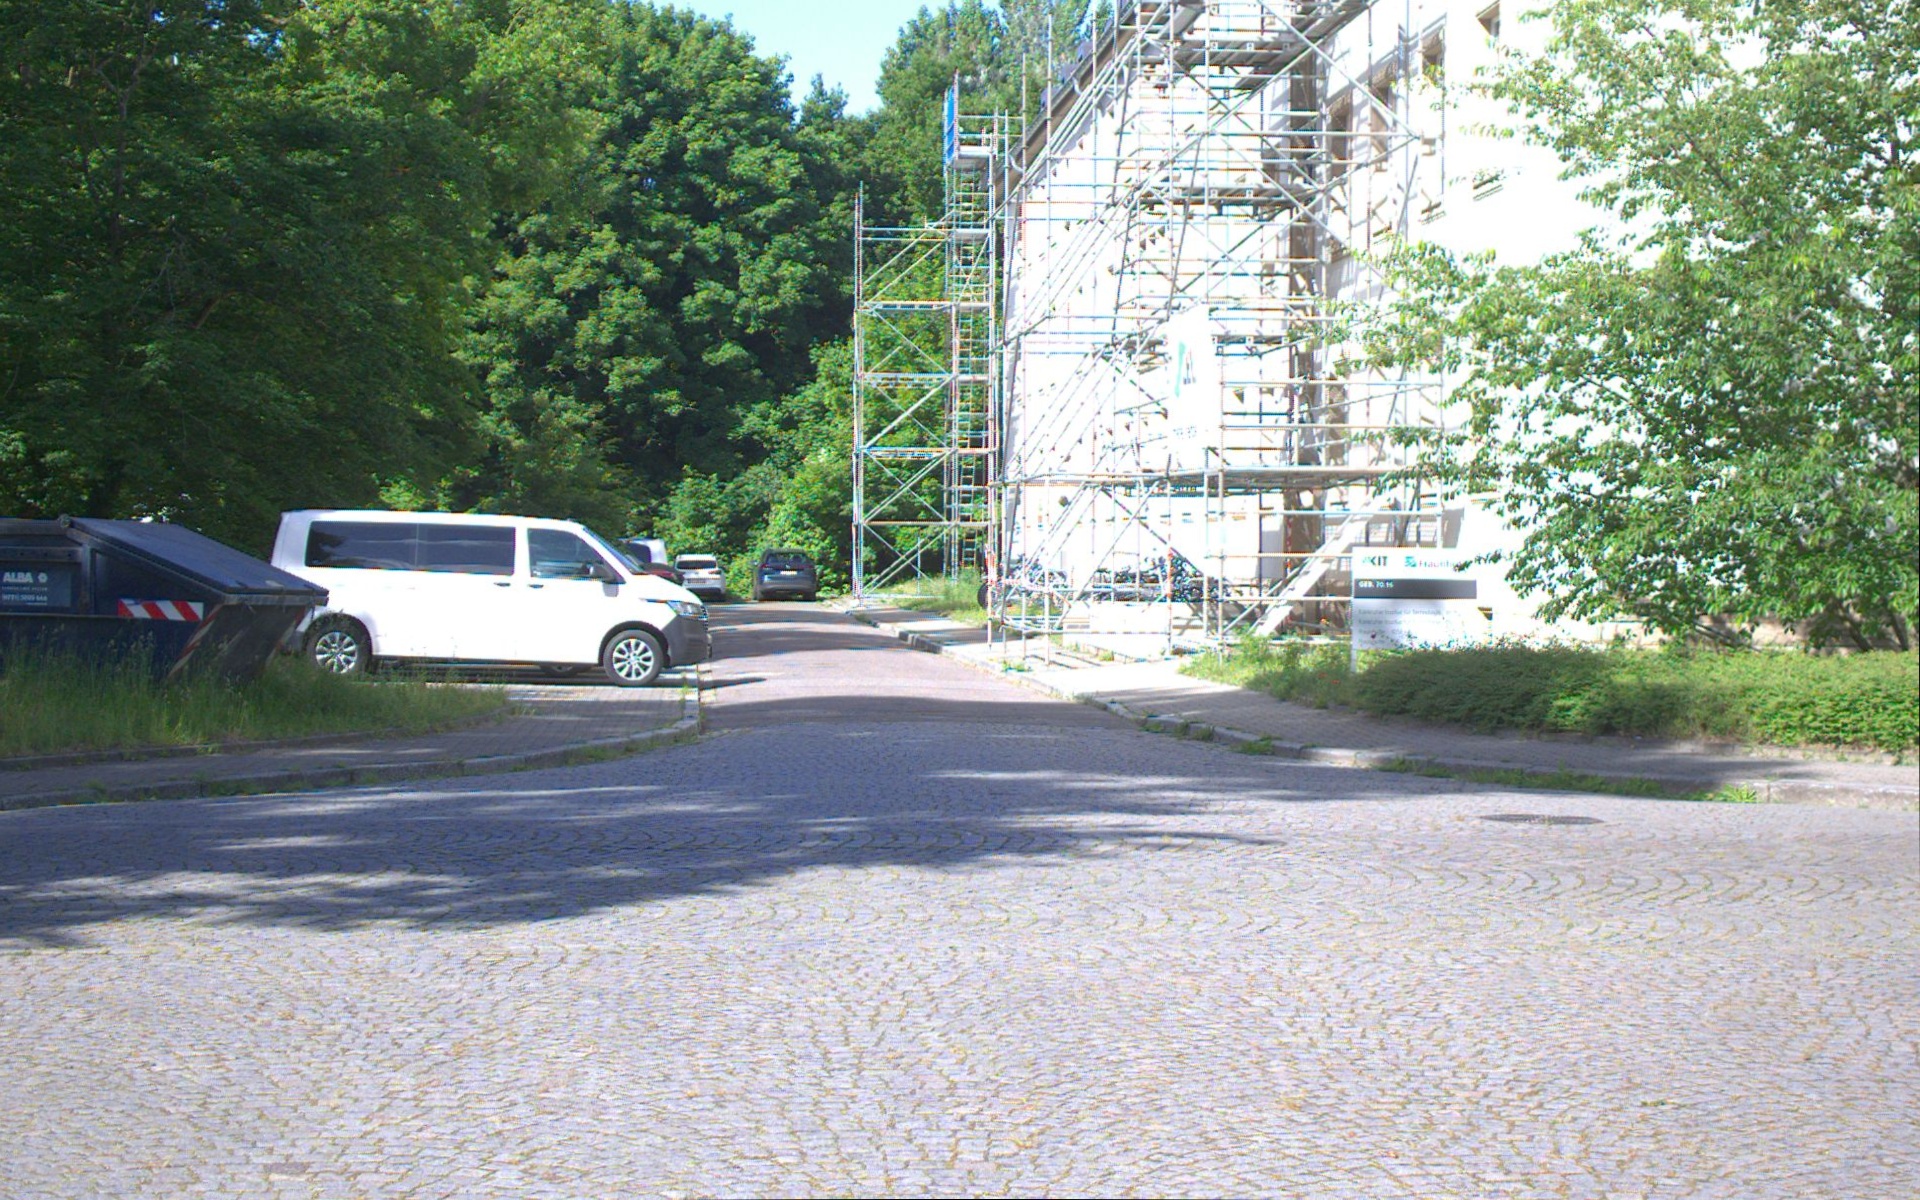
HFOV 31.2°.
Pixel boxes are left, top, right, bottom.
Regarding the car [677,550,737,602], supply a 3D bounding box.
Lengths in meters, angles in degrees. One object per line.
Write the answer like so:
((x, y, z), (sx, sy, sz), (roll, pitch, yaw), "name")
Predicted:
((-7.866, -0.764, 106.528), (1.812, 1.574, 4.135), (0, 1, -5), "car")

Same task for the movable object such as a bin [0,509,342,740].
((-6.979, 0.166, 27.275), (3.568, 1.739, 2.023), (0, 1, 14), "movable object such as a bin")

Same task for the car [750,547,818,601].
((-5.490, -0.814, 106.997), (1.970, 1.662, 4.087), (0, 1, -5), "car")

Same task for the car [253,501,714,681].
((-5.549, -0.110, 40.506), (5.233, 2.009, 1.950), (1, 1, -5), "car")
